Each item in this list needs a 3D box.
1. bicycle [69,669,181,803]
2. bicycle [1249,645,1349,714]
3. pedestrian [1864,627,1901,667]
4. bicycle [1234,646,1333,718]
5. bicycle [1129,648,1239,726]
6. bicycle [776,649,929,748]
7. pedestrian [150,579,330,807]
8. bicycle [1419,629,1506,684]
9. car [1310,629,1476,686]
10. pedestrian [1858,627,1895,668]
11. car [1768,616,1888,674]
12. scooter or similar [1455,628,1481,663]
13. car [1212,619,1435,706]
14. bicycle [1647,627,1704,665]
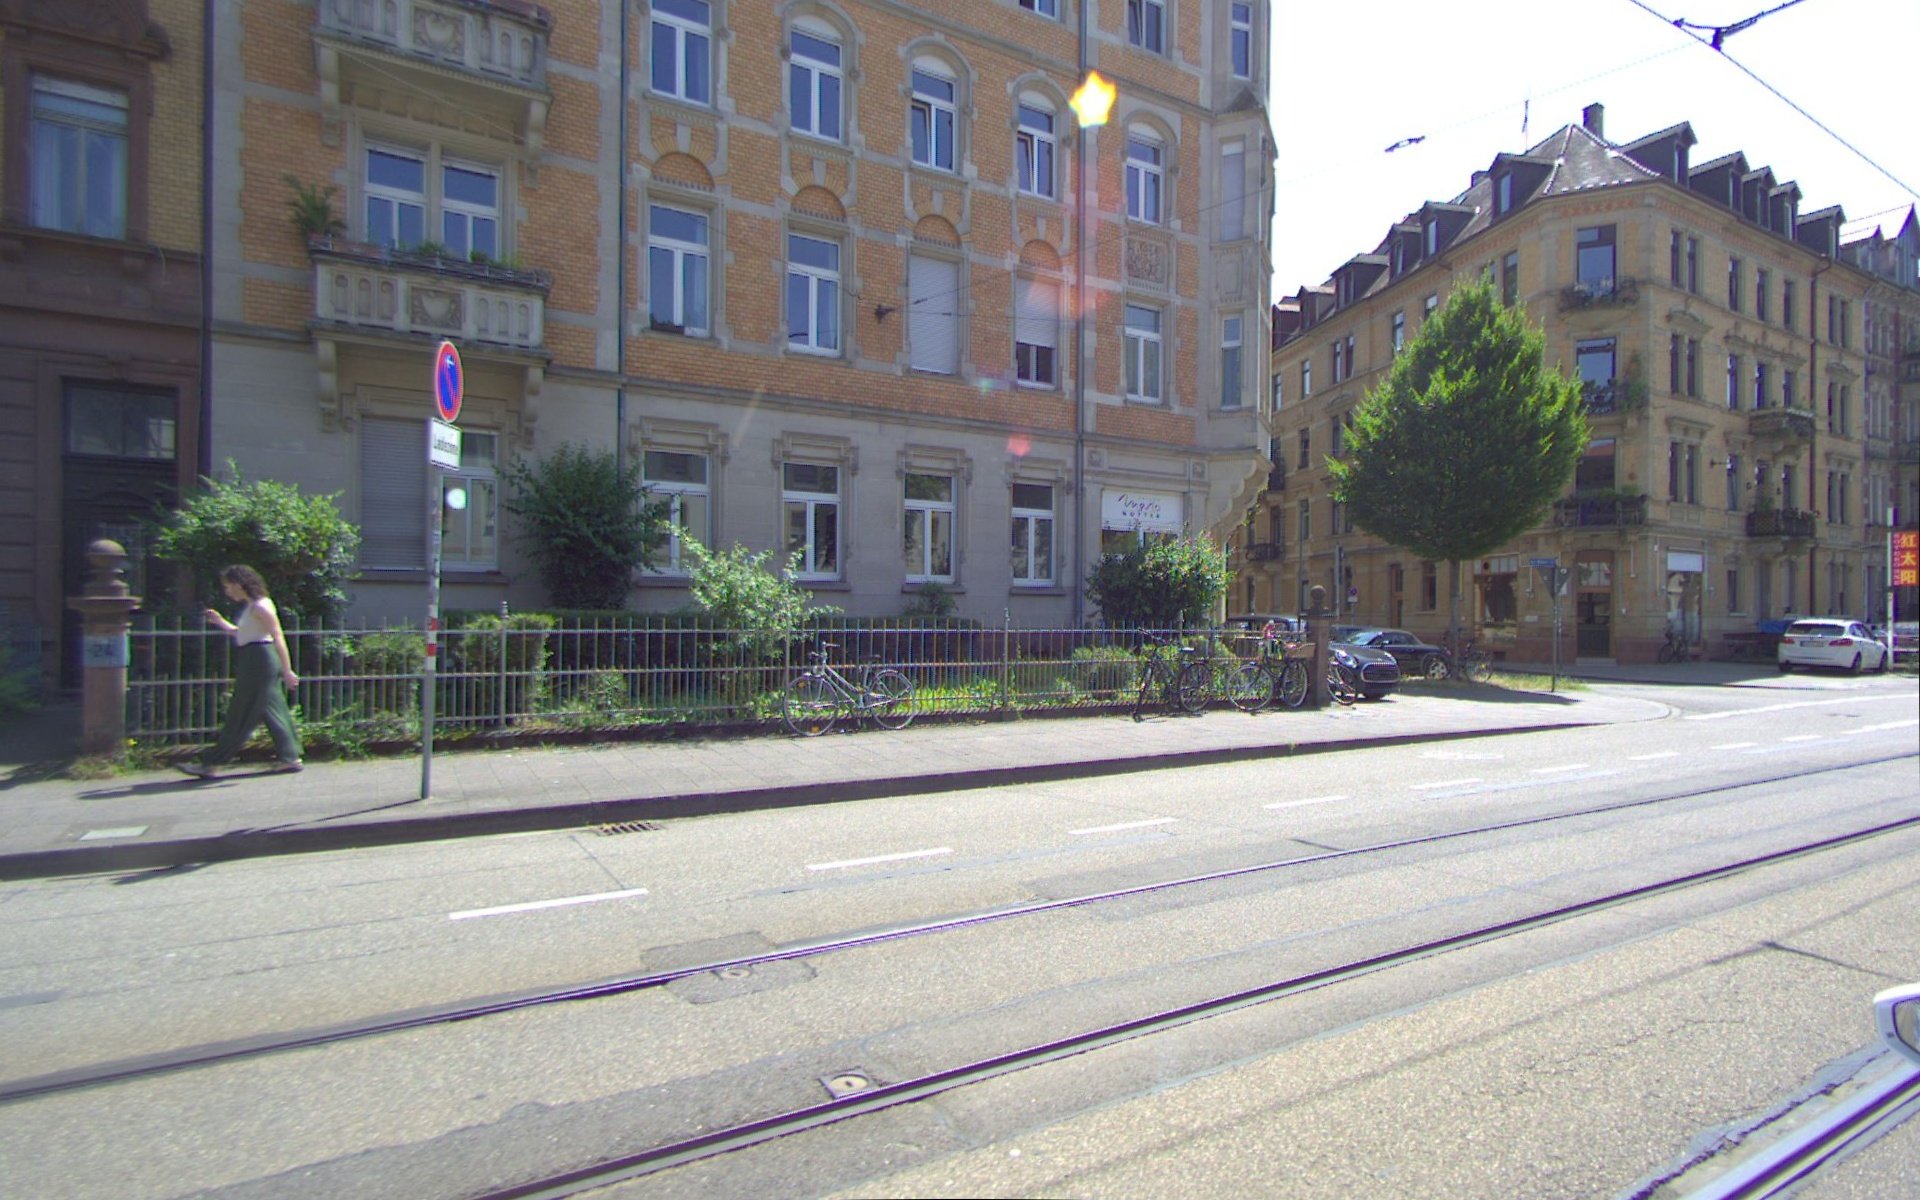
[{"bbox_3d":[-7.548,1.188,9.132,0.489,1.057,1.504,0,-2,-29],"label":"bicycle"},{"bbox_3d":[5.593,1.285,16.669,0.544,1.050,1.700,0,-2,-26],"label":"bicycle"},{"bbox_3d":[30.713,1.571,33.429,0.704,1.315,0.705,0,-3,-35],"label":"pedestrian"},{"bbox_3d":[4.898,1.220,15.154,1.692,0.996,0.436,0,-1,-33],"label":"bicycle"},{"bbox_3d":[3.166,1.196,14.120,1.692,0.996,0.436,0,-1,-33],"label":"bicycle"},{"bbox_3d":[-1.219,1.101,11.549,1.692,1.000,0.493,0,2,-33],"label":"bicycle"},{"bbox_3d":[-5.904,0.708,8.321,1.125,1.746,0.847,0,1,-30],"label":"pedestrian"},{"bbox_3d":[11.736,1.323,23.488,1.814,1.244,0.502,1,-2,-2],"label":"bicycle"},{"bbox_3d":[11.230,1.497,26.127,3.705,1.356,1.628,2,-2,-10],"label":"car"},{"bbox_3d":[30.085,1.573,32.986,0.704,1.315,0.705,0,-3,-35],"label":"pedestrian"},{"bbox_3d":[26.002,1.291,30.065,4.062,1.621,1.853,1,-1,-36],"label":"car"},{"bbox_3d":[19.094,1.707,37.775,0.486,1.290,1.283,-2,-2,11],"label":"scooter or similar"},{"bbox_3d":[6.674,1.109,18.819,1.693,1.447,3.743,1,-2,-29],"label":"car"},{"bbox_3d":[23.637,1.500,33.181,2.117,1.203,0.636,0,-2,-28],"label":"bicycle"}]
